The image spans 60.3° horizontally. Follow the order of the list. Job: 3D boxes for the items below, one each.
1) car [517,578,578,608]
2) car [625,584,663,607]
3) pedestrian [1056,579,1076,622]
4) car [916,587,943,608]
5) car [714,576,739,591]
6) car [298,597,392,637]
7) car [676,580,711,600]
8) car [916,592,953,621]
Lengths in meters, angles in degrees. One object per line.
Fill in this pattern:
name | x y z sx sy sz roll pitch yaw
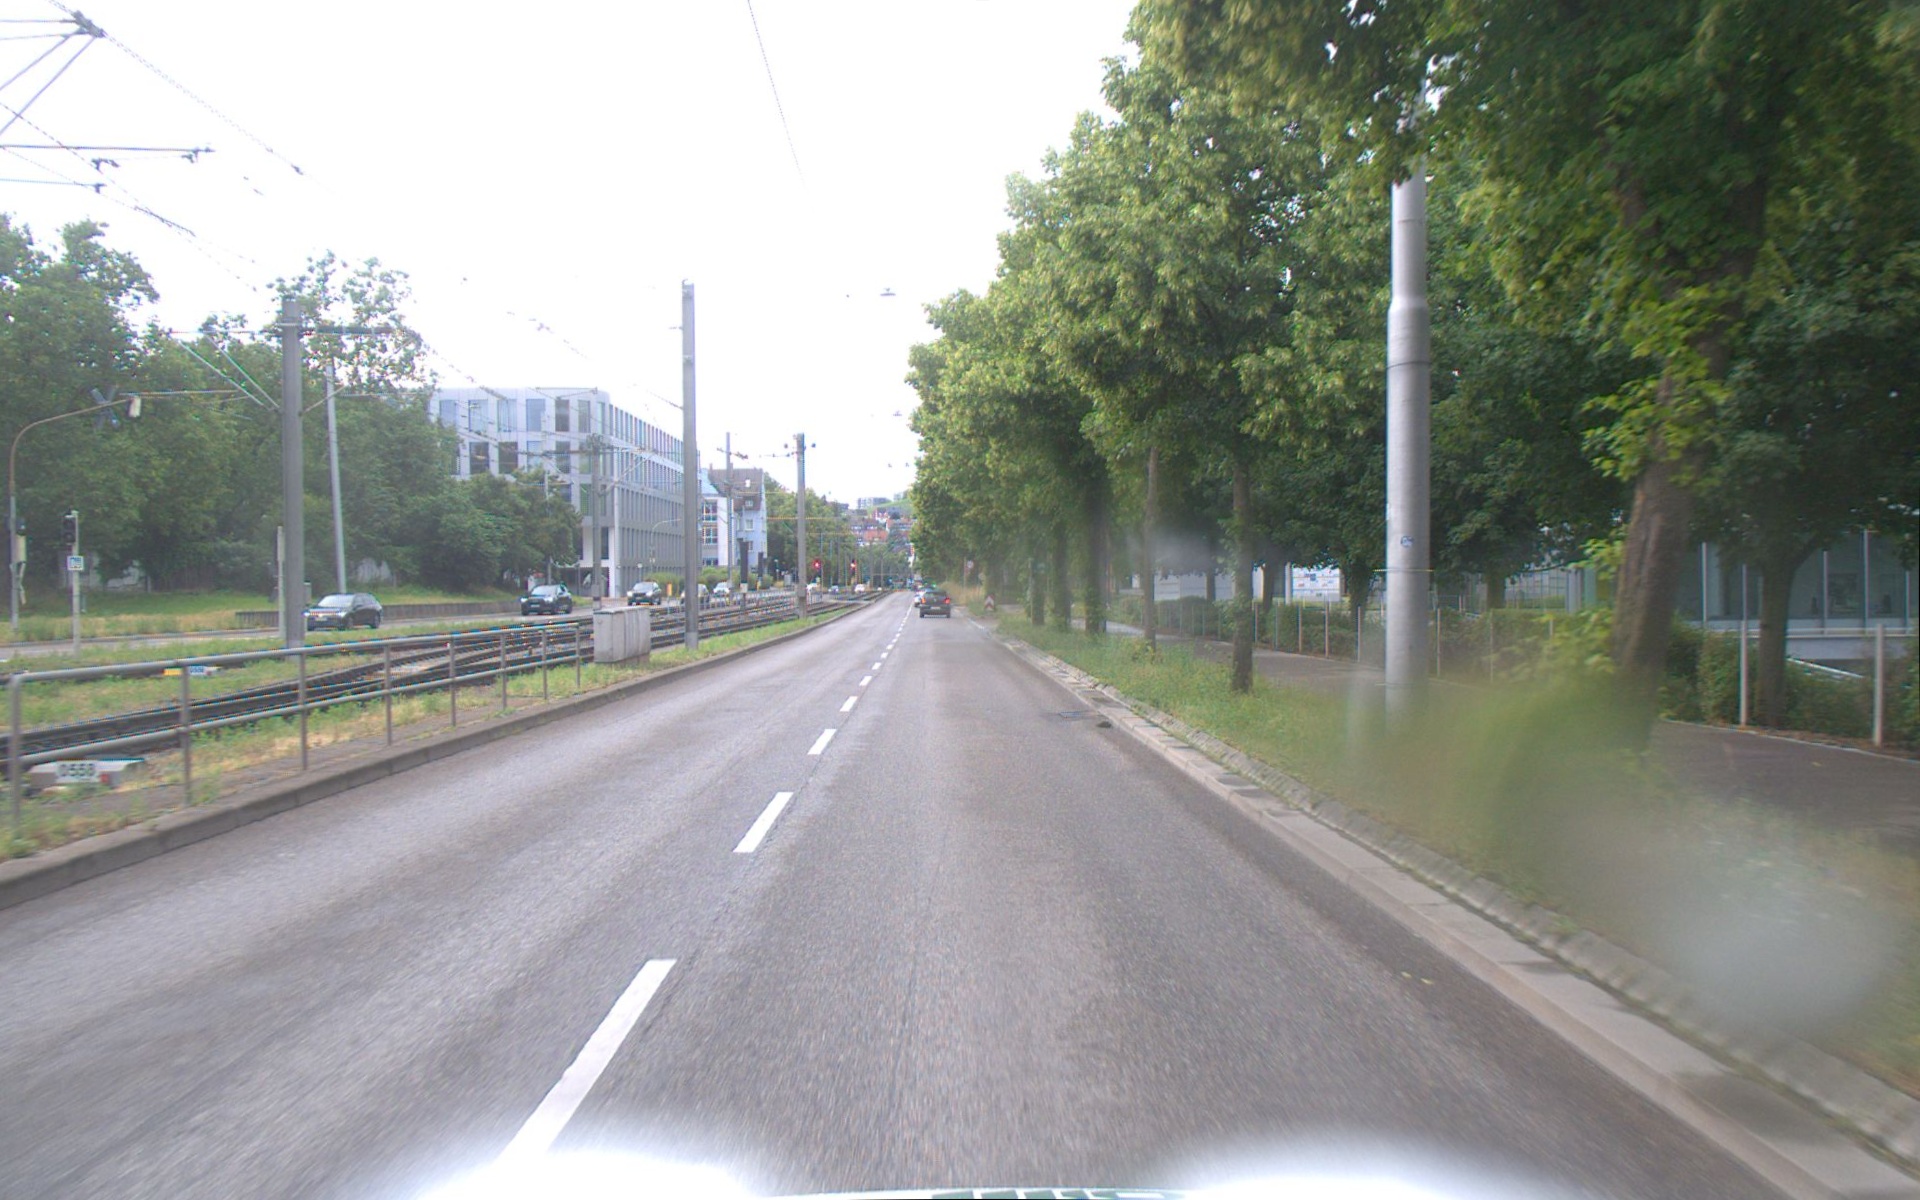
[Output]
car | -23.530 -0.417 94.570 2.046 1.616 5.160 -1 0 2
car | -23.073 -0.374 120.921 1.908 1.623 4.847 -1 0 0
pedestrian | 4.605 0.020 72.088 0.809 1.828 0.867 1 0 -1
car | -2.224 -0.195 120.896 1.942 1.466 4.473 -1 0 -1
car | -22.761 -1.641 161.323 1.724 1.422 3.901 -1 0 2
car | -24.741 0.656 66.729 1.887 1.472 4.684 -1 0 2
car | -20.327 -0.785 126.477 1.852 1.512 4.309 -1 0 2
car | -1.375 0.310 88.746 1.942 1.466 4.473 -1 0 -1
